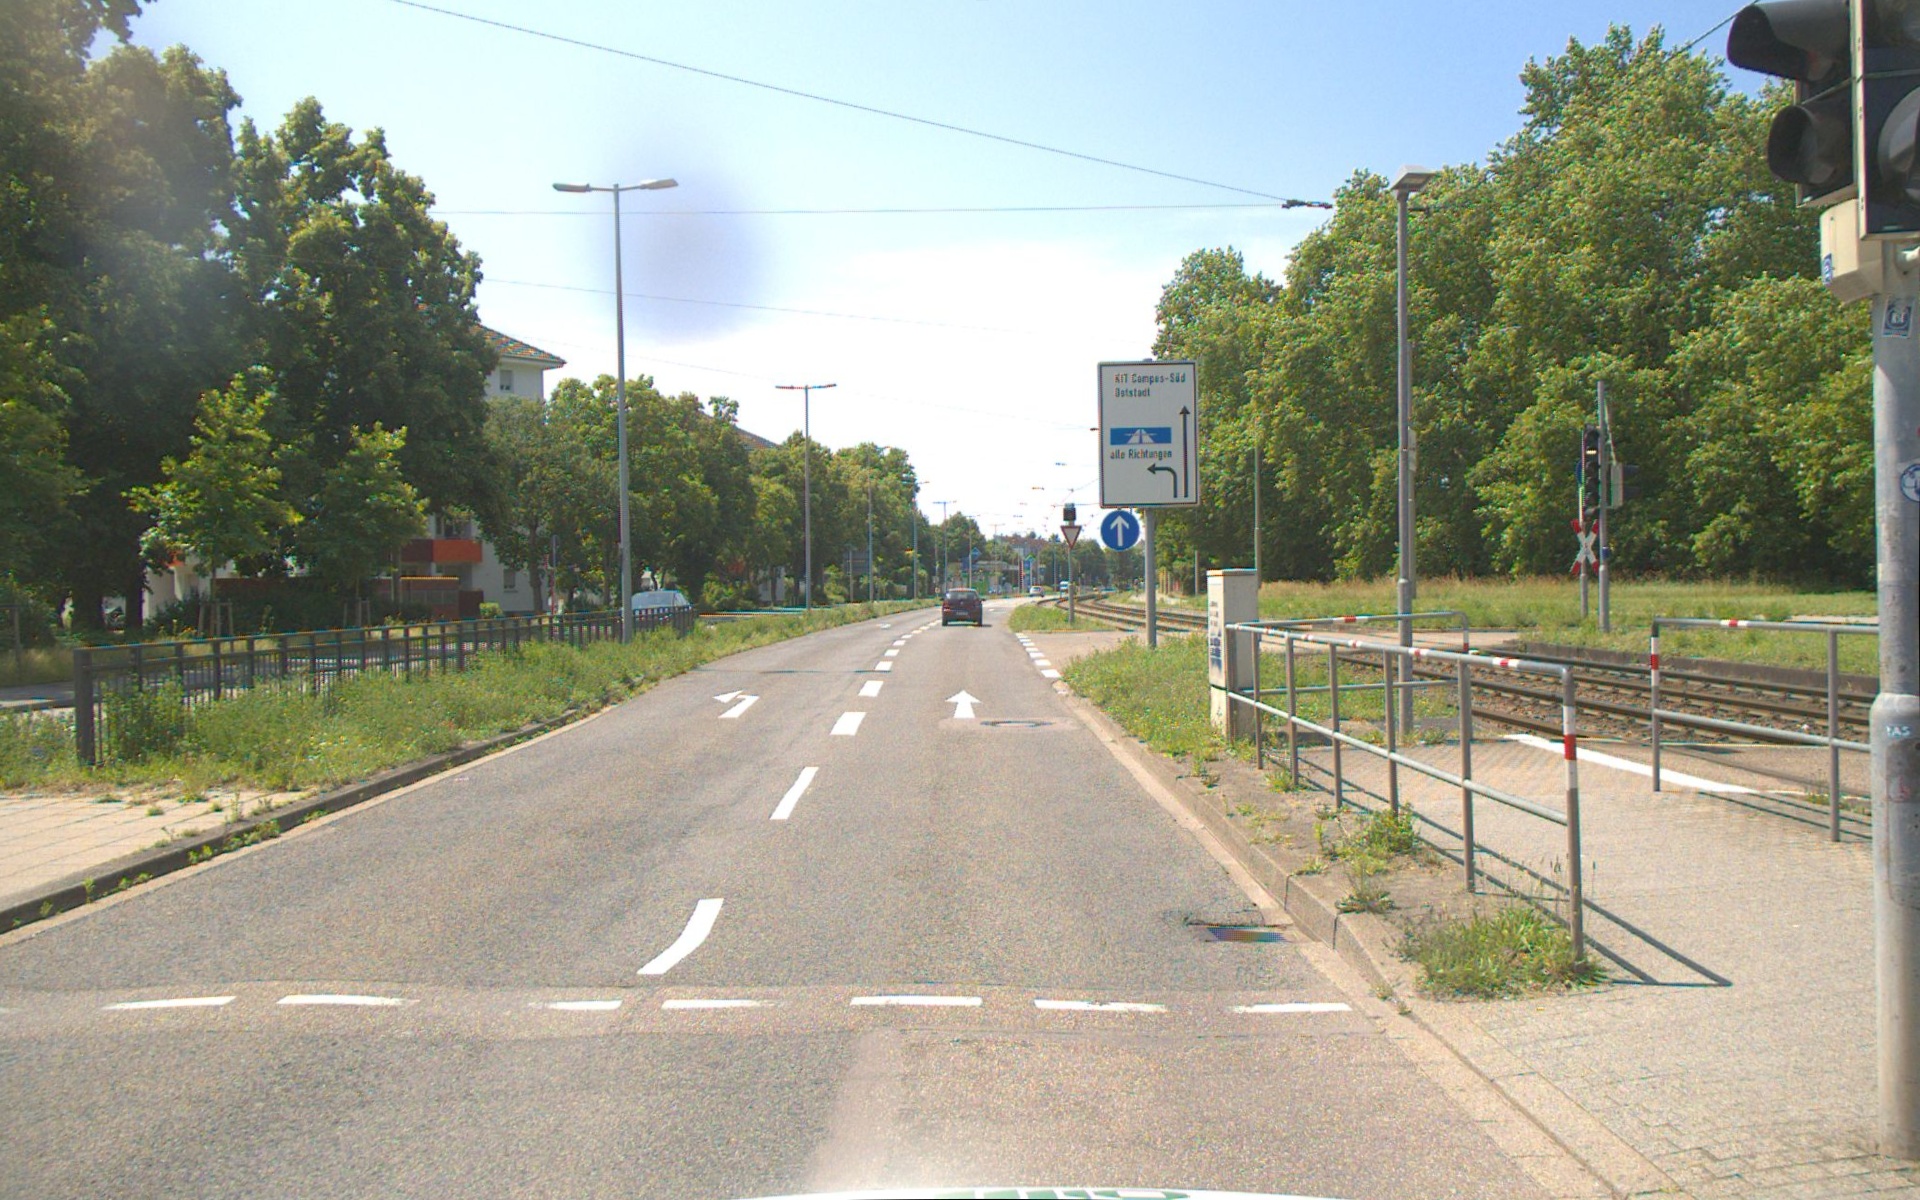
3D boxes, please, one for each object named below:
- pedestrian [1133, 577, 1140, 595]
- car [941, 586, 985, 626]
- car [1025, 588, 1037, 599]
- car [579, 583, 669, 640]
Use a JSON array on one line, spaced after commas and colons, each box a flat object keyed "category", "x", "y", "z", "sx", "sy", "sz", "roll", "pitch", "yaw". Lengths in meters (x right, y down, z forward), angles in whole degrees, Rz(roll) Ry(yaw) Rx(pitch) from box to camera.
[{"category": "pedestrian", "x": 17.392, "y": -1.407, "z": 162.947, "sx": 0.647, "sy": 1.756, "sz": 0.817, "roll": -1, "pitch": 0, "yaw": 6}, {"category": "car", "x": 0.118, "y": 0.242, "z": 66.114, "sx": 1.668, "sy": 1.503, "sz": 3.716, "roll": -2, "pitch": 0, "yaw": 1}, {"category": "car", "x": 9.657, "y": -0.919, "z": 225.889, "sx": 1.667, "sy": 1.506, "sz": 3.717, "roll": 1, "pitch": 0, "yaw": 2}, {"category": "car", "x": -9.806, "y": 0.300, "z": 48.558, "sx": 1.720, "sy": 1.570, "sz": 4.161, "roll": -2, "pitch": 1, "yaw": 1}]
